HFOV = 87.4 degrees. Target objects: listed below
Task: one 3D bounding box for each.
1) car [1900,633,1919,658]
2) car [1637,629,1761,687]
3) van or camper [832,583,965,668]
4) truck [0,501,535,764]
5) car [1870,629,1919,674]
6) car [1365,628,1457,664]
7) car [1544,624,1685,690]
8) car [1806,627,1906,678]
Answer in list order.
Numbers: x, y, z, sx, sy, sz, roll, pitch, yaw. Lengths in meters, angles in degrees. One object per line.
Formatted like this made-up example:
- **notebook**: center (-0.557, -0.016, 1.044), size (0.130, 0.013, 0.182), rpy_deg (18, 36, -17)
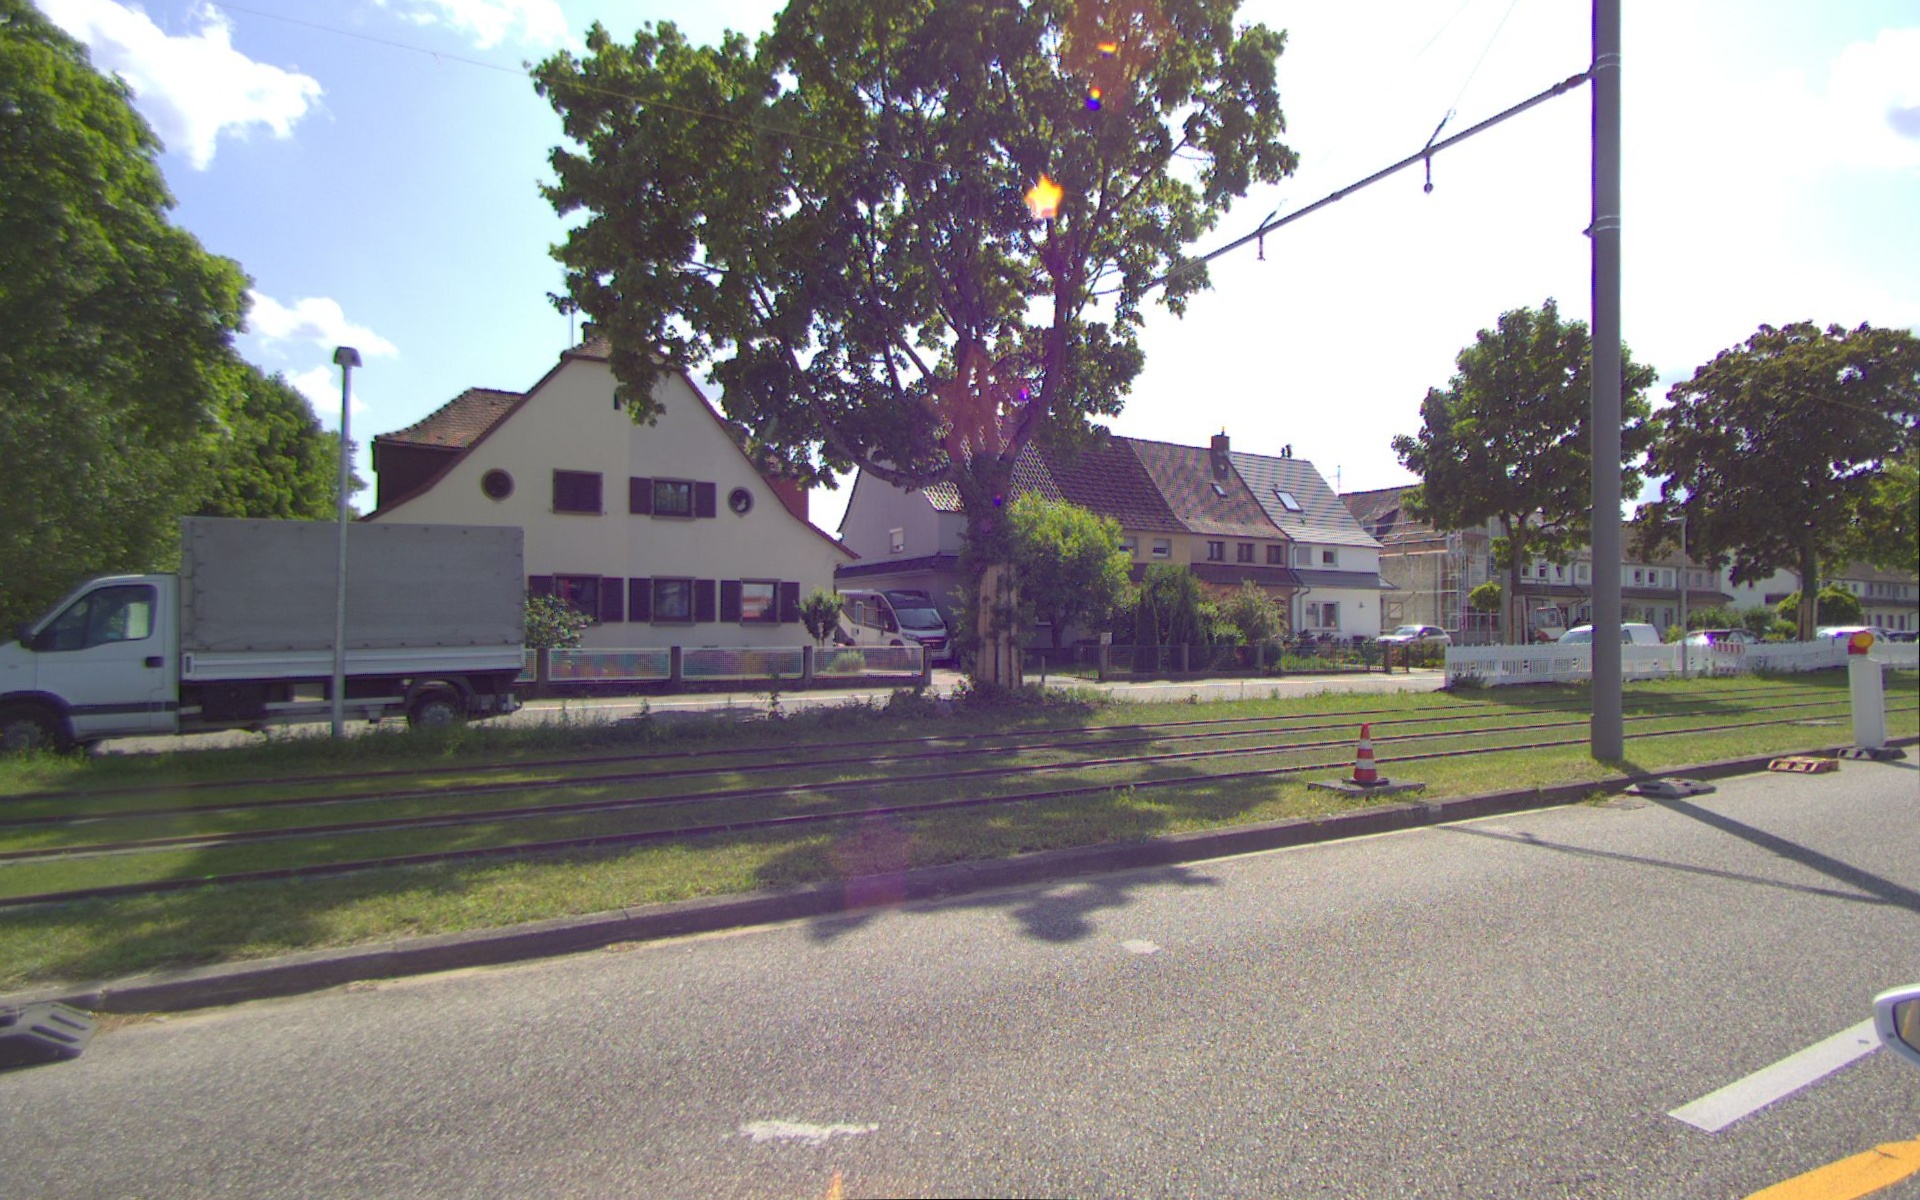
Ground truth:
- **car**: center (70.034, 3.299, 72.746), size (4.079, 1.745, 1.768), rpy_deg (1, -2, -30)
- **car**: center (24.296, 1.855, 32.996), size (4.177, 1.797, 1.768), rpy_deg (1, -2, -30)
- **van or camper**: center (-2.378, 0.943, 36.606), size (2.269, 2.801, 6.051), rpy_deg (1, -2, -32)
- **truck**: center (-8.827, 0.410, 12.964), size (5.906, 2.817, 2.255), rpy_deg (1, -2, -31)
- **car**: center (40.651, 2.163, 42.694), size (4.079, 1.829, 1.768), rpy_deg (1, -2, -30)
- **car**: center (19.995, 1.993, 44.491), size (3.952, 1.539, 1.768), rpy_deg (1, -2, -30)
- **car**: center (19.575, 1.646, 30.023), size (4.312, 1.845, 1.768), rpy_deg (1, -2, -30)
- **car**: center (35.367, 2.030, 39.637), size (4.079, 1.892, 1.768), rpy_deg (1, -2, -30)
